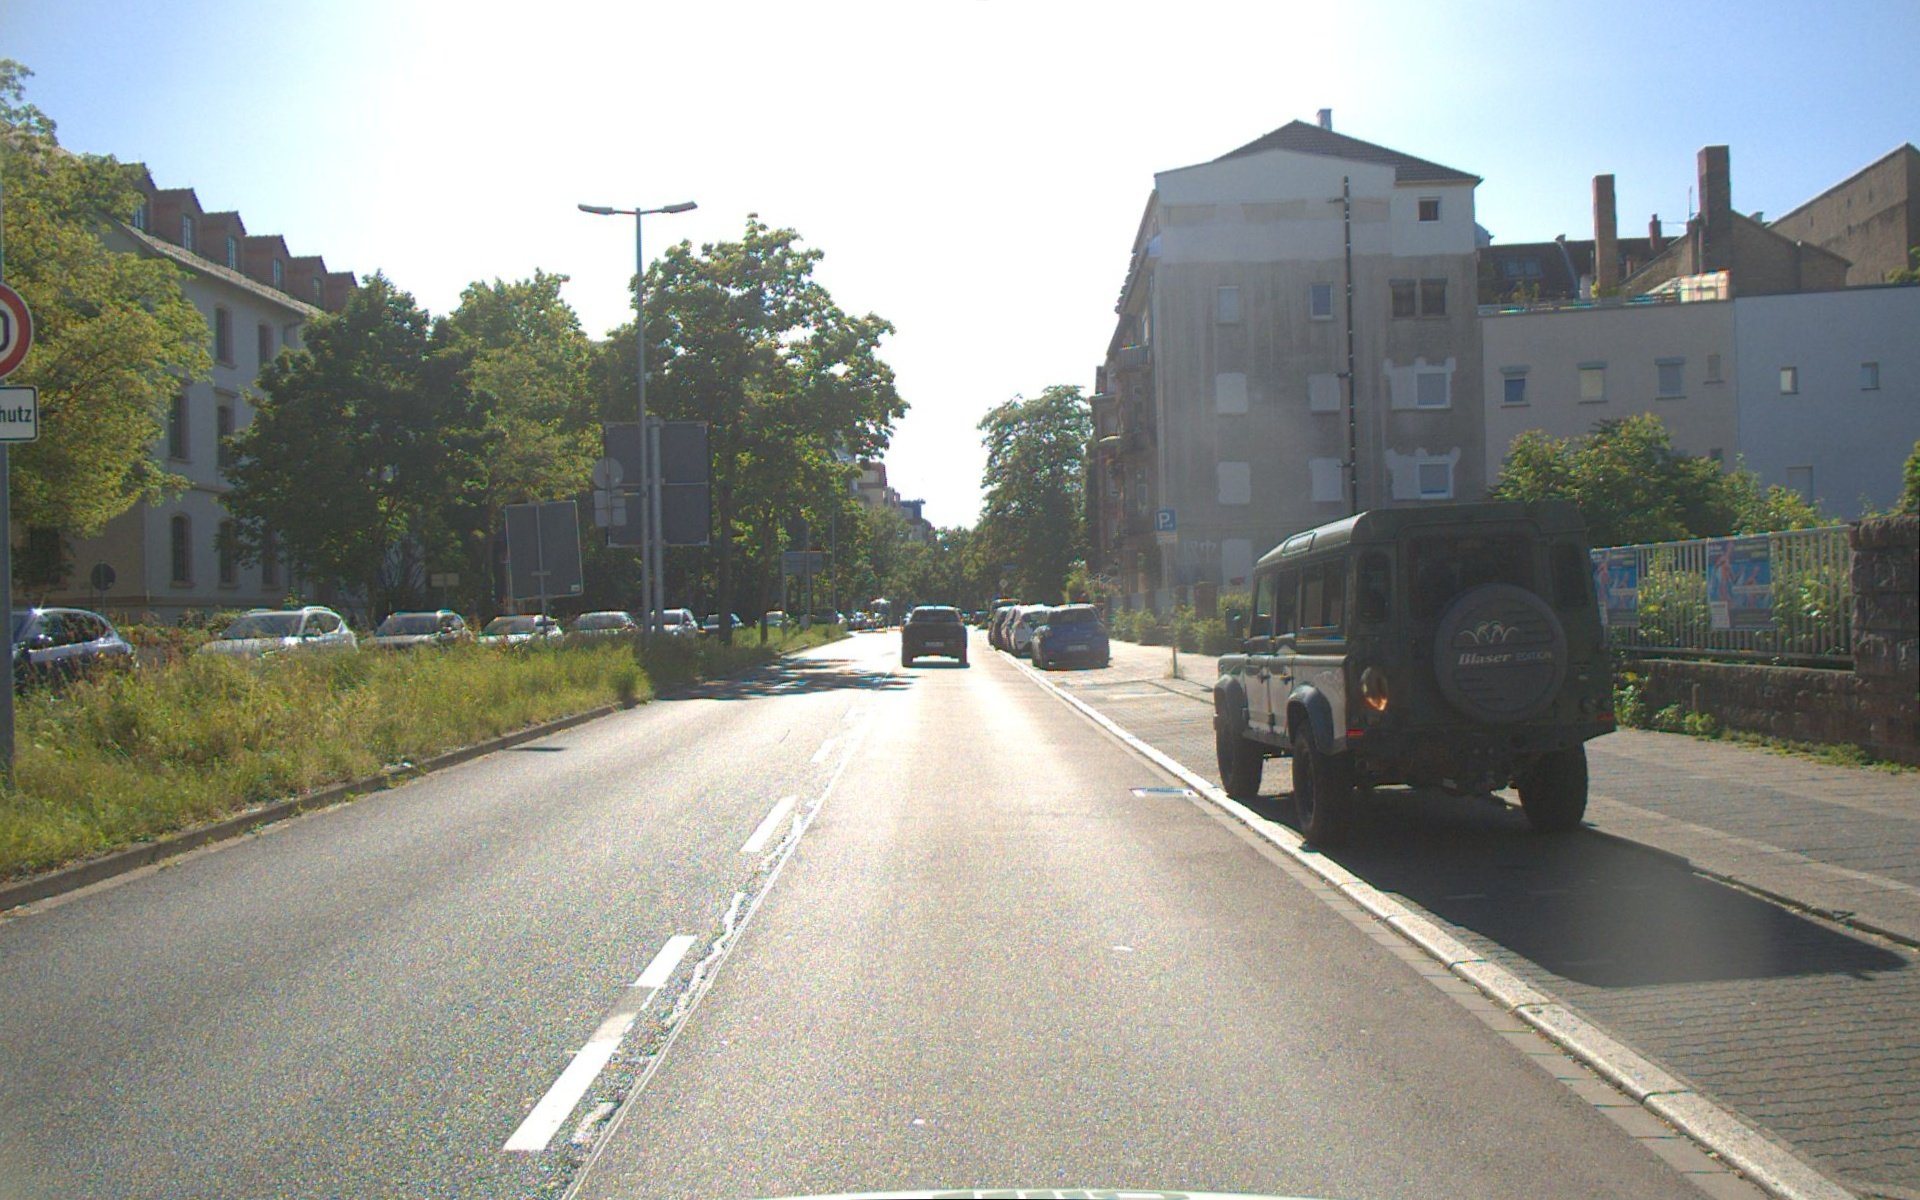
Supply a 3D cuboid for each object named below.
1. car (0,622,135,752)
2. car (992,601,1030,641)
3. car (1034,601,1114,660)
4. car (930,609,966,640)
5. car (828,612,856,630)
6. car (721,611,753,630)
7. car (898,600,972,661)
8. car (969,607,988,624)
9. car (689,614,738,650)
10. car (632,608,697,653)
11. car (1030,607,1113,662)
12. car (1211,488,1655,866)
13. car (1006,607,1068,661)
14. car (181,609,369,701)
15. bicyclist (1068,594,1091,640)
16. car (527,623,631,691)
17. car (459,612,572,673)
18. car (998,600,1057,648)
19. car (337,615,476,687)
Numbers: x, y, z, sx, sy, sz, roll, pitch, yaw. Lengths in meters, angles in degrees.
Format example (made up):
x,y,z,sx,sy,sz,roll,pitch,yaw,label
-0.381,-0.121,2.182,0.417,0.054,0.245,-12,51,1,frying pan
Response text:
x,y,z,sx,sy,sz,roll,pitch,yaw,label
-12.368,1.071,20.897,1.759,1.545,4.443,-1,-1,-2,car
2.526,0.994,81.509,1.781,1.876,4.365,-2,0,2,car
3.203,0.836,47.029,1.635,1.485,3.982,-4,0,-4,car
-0.631,1.236,83.802,1.756,1.547,3.848,0,0,-1,car
-10.400,1.838,145.910,1.721,1.545,3.862,-2,0,7,car
-19.947,1.830,147.867,1.946,1.691,3.976,-1,0,-20,car
-0.723,0.807,44.899,1.857,1.545,3.997,1,-1,-3,car
1.911,1.560,170.125,1.881,1.668,4.000,-2,0,1,car
-11.500,1.523,77.358,1.759,1.545,4.085,-3,-1,-2,car
-11.757,1.189,66.132,1.862,1.654,4.535,-2,-1,-2,car
2.812,0.850,42.296,1.635,1.203,3.899,-5,0,-2,car
3.015,0.462,11.666,1.626,2.049,4.775,-2,-1,-1,car
2.390,1.037,51.825,1.576,1.471,3.657,-4,0,-2,car
-12.440,0.957,30.334,1.759,1.545,4.256,-1,-1,-2,car
4.231,0.592,58.588,0.726,1.608,1.100,0,0,1,bicyclist
-9.825,1.524,42.936,1.717,1.646,4.321,0,-3,-1,car
-12.155,1.133,45.522,1.801,1.545,4.666,-1,0,0,car
2.297,0.808,57.362,1.635,1.545,3.658,-2,0,-4,car
-12.533,1.178,37.735,1.759,1.546,4.257,0,-2,-1,car
